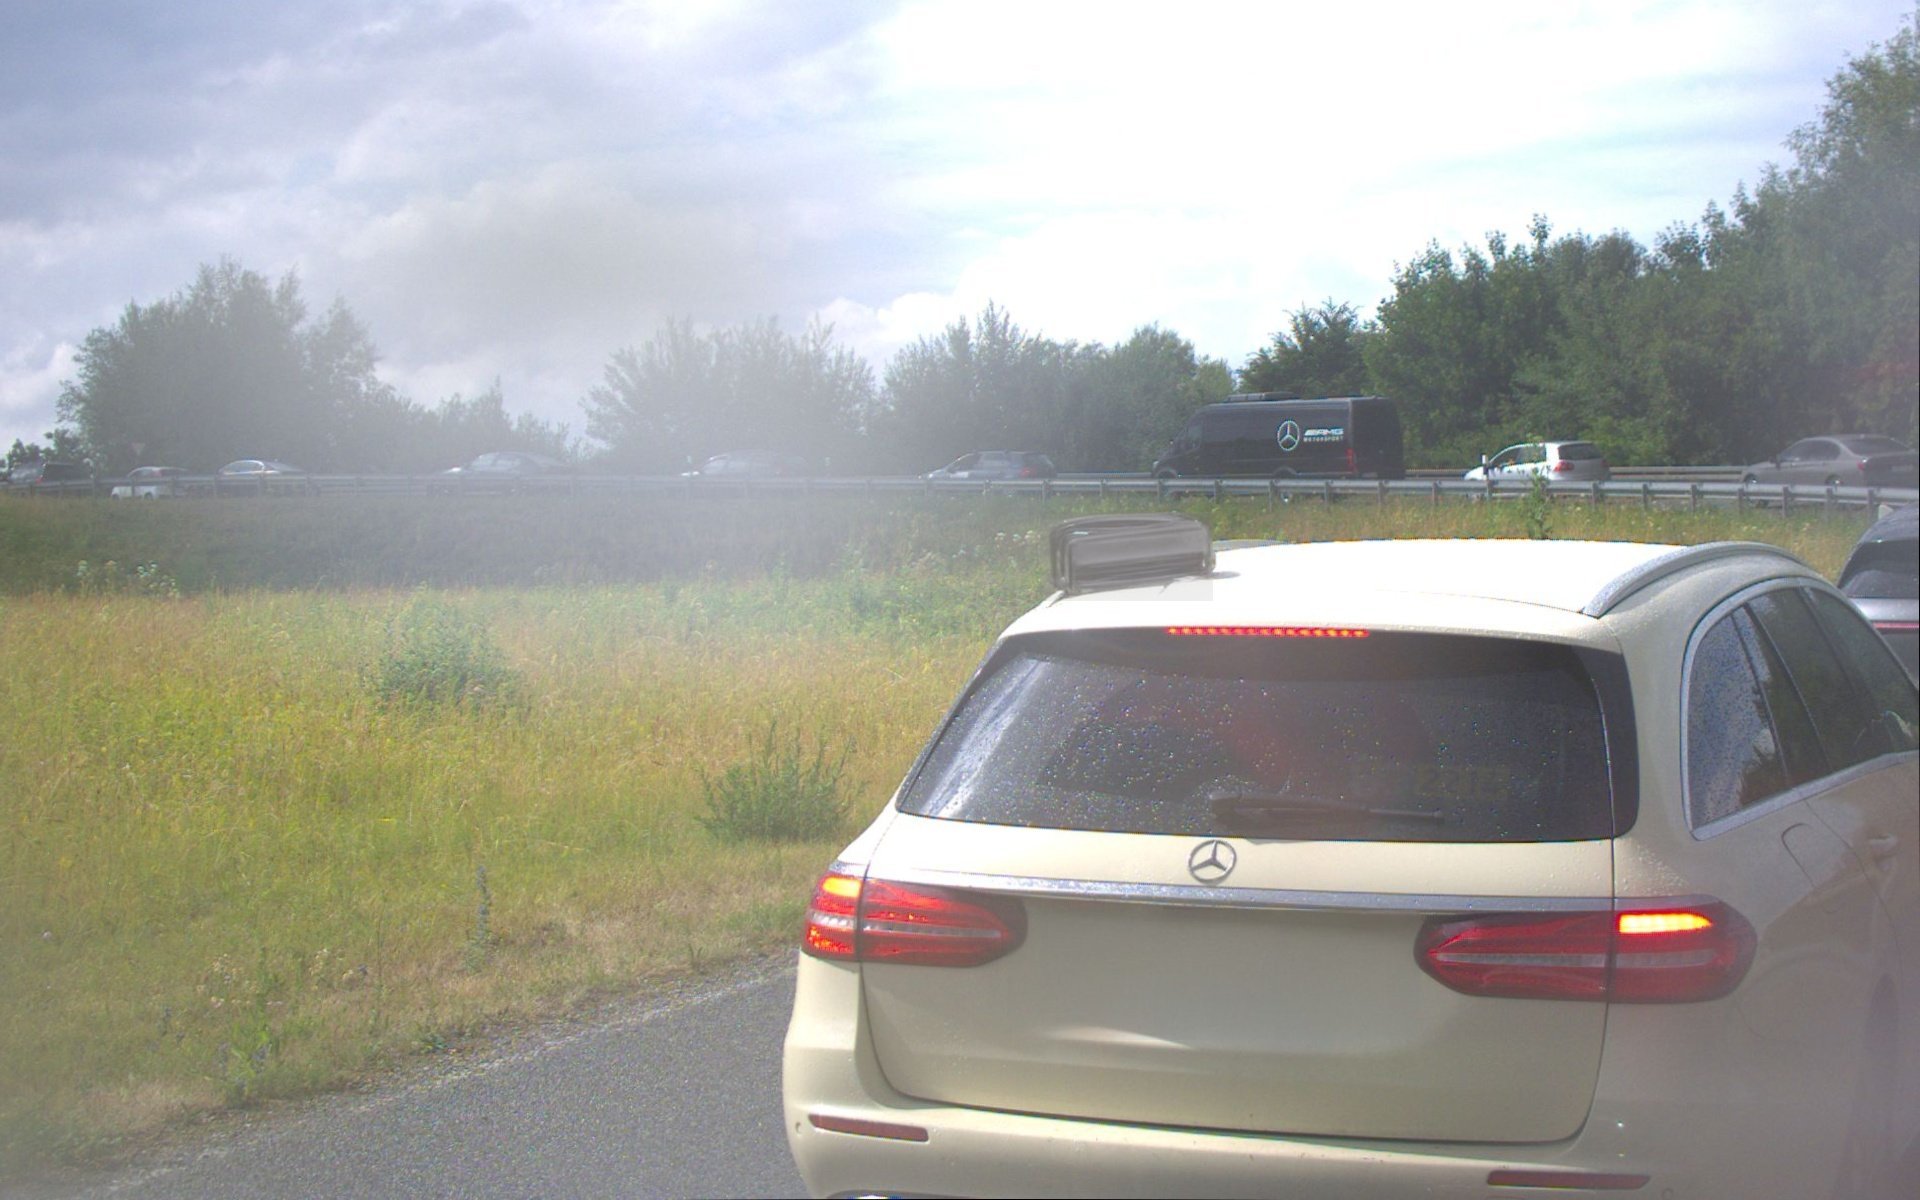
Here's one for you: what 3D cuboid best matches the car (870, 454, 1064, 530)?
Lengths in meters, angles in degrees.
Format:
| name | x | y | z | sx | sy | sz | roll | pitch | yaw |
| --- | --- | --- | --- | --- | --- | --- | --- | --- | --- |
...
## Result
| name | x | y | z | sx | sy | sz | roll | pitch | yaw |
| --- | --- | --- | --- | --- | --- | --- | --- | --- | --- |
| car | 0.174 | -2.935 | 94.178 | 5.050 | 1.855 | 1.996 | -2 | 0 | 35 |

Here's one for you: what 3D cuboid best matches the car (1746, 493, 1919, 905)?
| name | x | y | z | sx | sy | sz | roll | pitch | yaw |
| --- | --- | --- | --- | --- | --- | --- | --- | --- | --- |
| car | 4.697 | 0.289 | 14.308 | 1.720 | 1.519 | 3.994 | -2 | 1 | 28 |

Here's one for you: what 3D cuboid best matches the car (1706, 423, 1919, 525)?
| name | x | y | z | sx | sy | sz | roll | pitch | yaw |
| --- | --- | --- | --- | --- | --- | --- | --- | --- | --- |
| car | 17.745 | -2.569 | 70.756 | 1.993 | 1.855 | 5.058 | -2 | 0 | -25 |

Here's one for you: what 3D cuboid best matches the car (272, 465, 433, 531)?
| name | x | y | z | sx | sy | sz | roll | pitch | yaw |
| --- | --- | --- | --- | --- | --- | --- | --- | --- | --- |
| car | -19.016 | -3.186 | 107.644 | 4.499 | 1.855 | 1.998 | -2 | 0 | 17 |

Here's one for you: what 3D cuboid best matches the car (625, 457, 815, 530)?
| name | x | y | z | sx | sy | sz | roll | pitch | yaw |
| --- | --- | --- | --- | --- | --- | --- | --- | --- | --- |
| car | -6.890 | -3.031 | 98.655 | 5.047 | 1.855 | 1.997 | -2 | 0 | 24 |

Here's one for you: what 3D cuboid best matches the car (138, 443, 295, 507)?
| name | x | y | z | sx | sy | sz | roll | pitch | yaw |
| --- | --- | --- | --- | --- | --- | --- | --- | --- | --- |
| car | -24.431 | -4.074 | 112.917 | 5.050 | 1.855 | 1.996 | -2 | 0 | 33 |

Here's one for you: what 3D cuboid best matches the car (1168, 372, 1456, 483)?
| name | x | y | z | sx | sy | sz | roll | pitch | yaw |
| --- | --- | --- | --- | --- | --- | --- | --- | --- | --- |
| car | 8.857 | -4.330 | 87.080 | 2.868 | 2.586 | 6.980 | -3 | 3 | -44 |

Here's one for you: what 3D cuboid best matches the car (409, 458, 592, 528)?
| name | x | y | z | sx | sy | sz | roll | pitch | yaw |
| --- | --- | --- | --- | --- | --- | --- | --- | --- | --- |
| car | -13.655 | -3.148 | 102.089 | 5.047 | 1.855 | 1.997 | -2 | 0 | 24 |

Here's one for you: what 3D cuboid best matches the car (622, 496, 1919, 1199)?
| name | x | y | z | sx | sy | sz | roll | pitch | yaw |
| --- | --- | --- | --- | --- | --- | --- | --- | --- | --- |
| car | 1.212 | 0.554 | 7.436 | 1.918 | 1.502 | 4.591 | 1 | 3 | 23 |

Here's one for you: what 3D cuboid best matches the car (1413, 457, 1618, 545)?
| name | x | y | z | sx | sy | sz | roll | pitch | yaw |
| --- | --- | --- | --- | --- | --- | --- | --- | --- | --- |
| car | 13.086 | -2.324 | 81.264 | 1.993 | 1.855 | 5.057 | -2 | 0 | -30 |

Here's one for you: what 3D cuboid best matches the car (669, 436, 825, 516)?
| name | x | y | z | sx | sy | sz | roll | pitch | yaw |
| --- | --- | --- | --- | --- | --- | --- | --- | --- | --- |
| car | -6.133 | -3.536 | 98.860 | 3.993 | 2.007 | 1.996 | -1 | -4 | 30 |
